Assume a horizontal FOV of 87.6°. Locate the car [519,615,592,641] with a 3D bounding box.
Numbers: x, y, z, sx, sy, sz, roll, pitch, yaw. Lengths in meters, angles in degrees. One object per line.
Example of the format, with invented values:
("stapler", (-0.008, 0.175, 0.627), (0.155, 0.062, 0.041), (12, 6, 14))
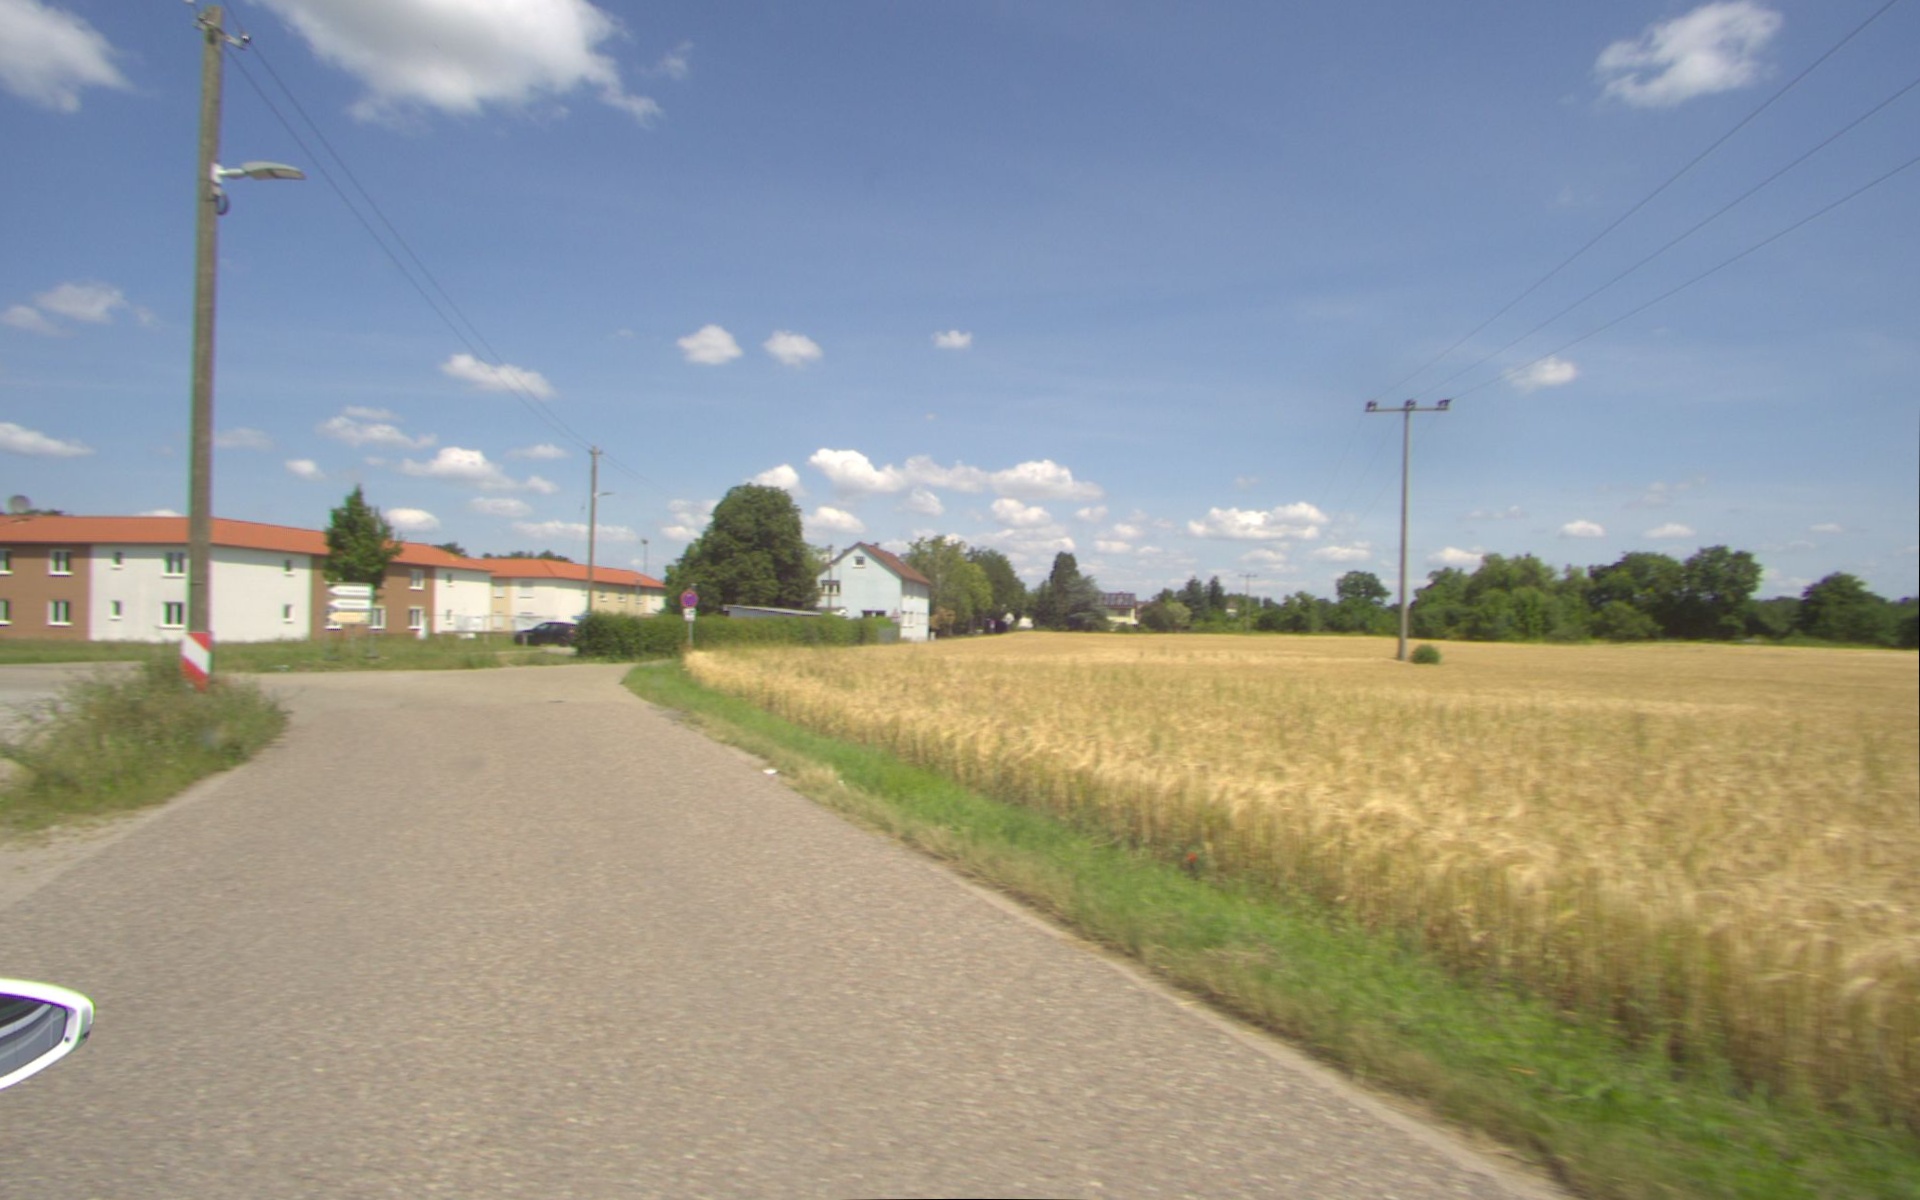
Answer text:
("car", (-27.203, 1.912, 67.397), (4.068, 1.635, 2.001), (1, -1, 7))
